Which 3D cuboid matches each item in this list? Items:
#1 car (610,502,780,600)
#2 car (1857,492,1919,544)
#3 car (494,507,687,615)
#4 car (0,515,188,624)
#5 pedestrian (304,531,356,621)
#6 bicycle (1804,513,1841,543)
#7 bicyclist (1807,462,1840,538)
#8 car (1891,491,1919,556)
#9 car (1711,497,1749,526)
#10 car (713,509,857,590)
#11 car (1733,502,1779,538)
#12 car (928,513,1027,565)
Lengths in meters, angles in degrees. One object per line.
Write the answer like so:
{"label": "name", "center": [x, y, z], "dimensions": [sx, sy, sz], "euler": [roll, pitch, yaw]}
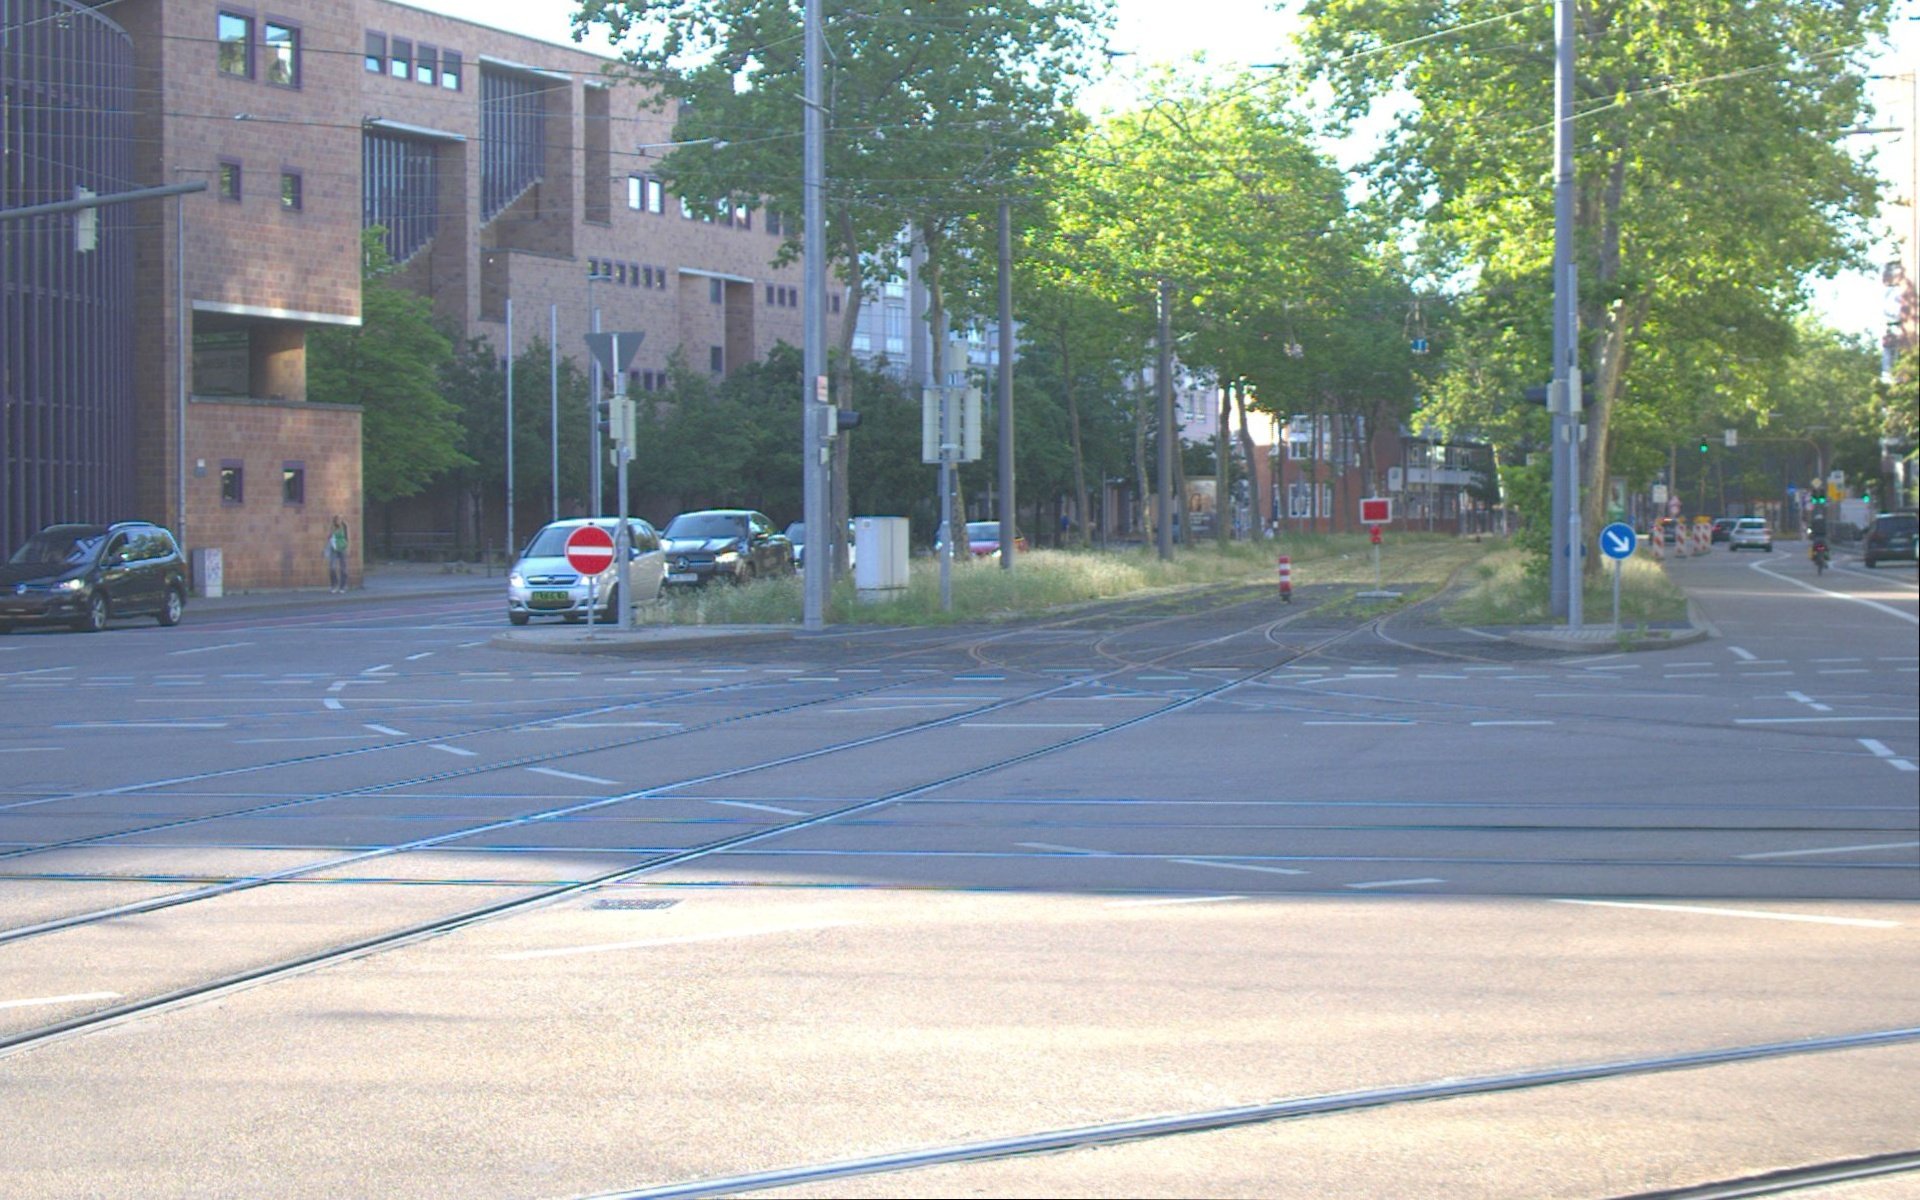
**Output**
{"label": "car", "center": [-4.623, -0.887, 60.589], "dimensions": [1.854, 1.645, 4.323], "euler": [0, 2, 11]}
{"label": "car", "center": [28.715, -2.537, 105.502], "dimensions": [2.264, 1.546, 4.322], "euler": [0, 2, 15]}
{"label": "car", "center": [-5.686, -0.642, 53.403], "dimensions": [1.731, 1.591, 4.323], "euler": [0, 2, 11]}
{"label": "car", "center": [-14.241, -0.514, 55.325], "dimensions": [1.834, 1.648, 4.498], "euler": [-1, 1, 11]}
{"label": "pedestrian", "center": [-14.096, -0.542, 76.931], "dimensions": [0.899, 2.007, 0.756], "euler": [1, 2, 45]}
{"label": "bicycle", "center": [23.061, -1.925, 91.911], "dimensions": [0.818, 0.771, 1.728], "euler": [0, 2, 19]}
{"label": "bicyclist", "center": [23.126, -2.680, 92.039], "dimensions": [0.753, 2.006, 0.743], "euler": [1, 2, 20]}
{"label": "car", "center": [23.893, -1.890, 84.331], "dimensions": [1.854, 1.546, 4.323], "euler": [0, 2, 13]}
{"label": "car", "center": [40.975, -4.715, 182.923], "dimensions": [1.855, 1.546, 4.323], "euler": [0, 2, 14]}
{"label": "car", "center": [-3.467, -1.031, 68.771], "dimensions": [1.854, 1.546, 4.323], "euler": [0, 2, 11]}
{"label": "car", "center": [35.095, -3.526, 151.504], "dimensions": [1.855, 1.546, 4.323], "euler": [0, 2, 14]}
{"label": "car", "center": [0.413, -1.523, 84.959], "dimensions": [1.841, 1.218, 4.001], "euler": [-1, 2, -9]}
